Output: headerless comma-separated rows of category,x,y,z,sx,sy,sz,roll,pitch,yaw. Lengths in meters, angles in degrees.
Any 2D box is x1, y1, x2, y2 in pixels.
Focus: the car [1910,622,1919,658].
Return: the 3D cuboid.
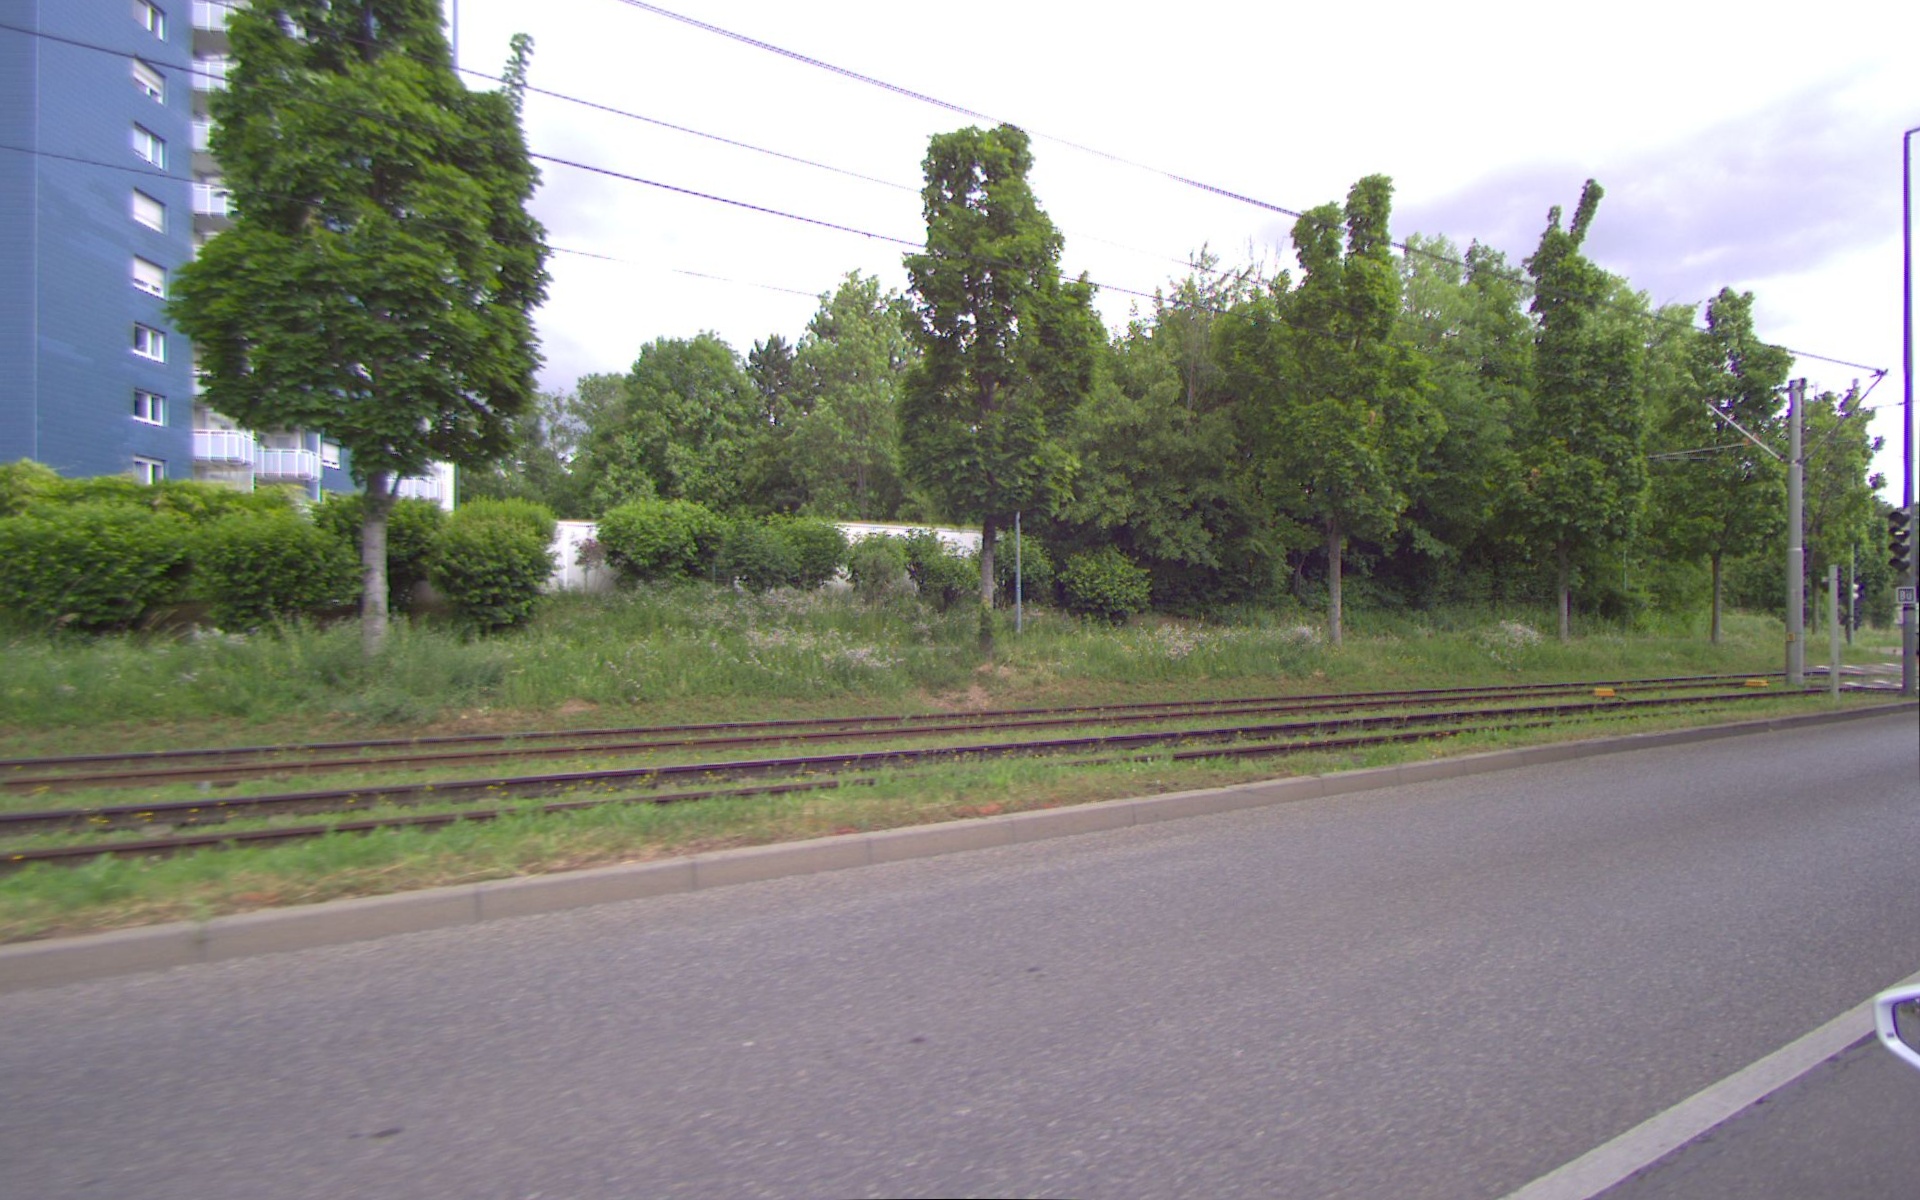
car,43.916,1.775,45.068,1.847,1.541,4.214,0,0,43
